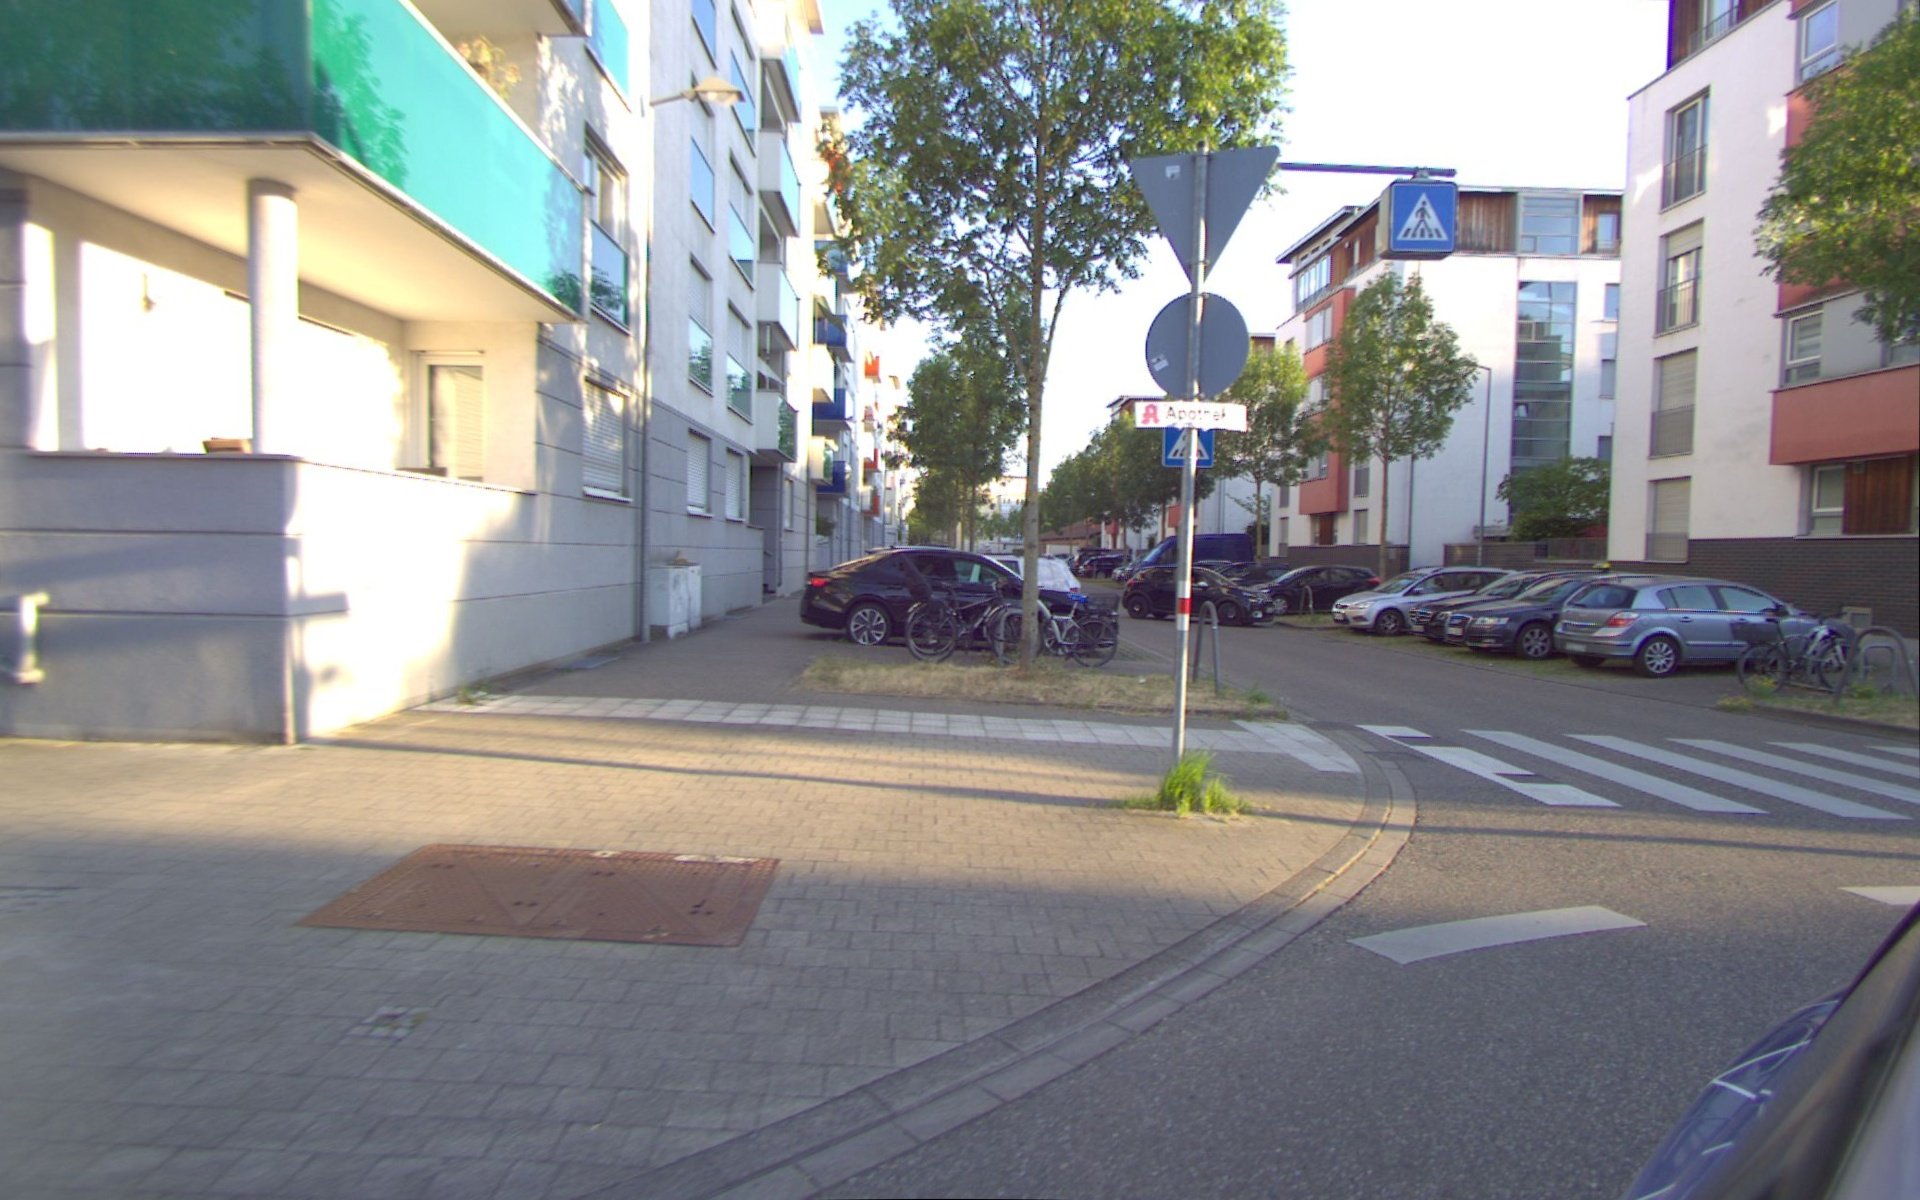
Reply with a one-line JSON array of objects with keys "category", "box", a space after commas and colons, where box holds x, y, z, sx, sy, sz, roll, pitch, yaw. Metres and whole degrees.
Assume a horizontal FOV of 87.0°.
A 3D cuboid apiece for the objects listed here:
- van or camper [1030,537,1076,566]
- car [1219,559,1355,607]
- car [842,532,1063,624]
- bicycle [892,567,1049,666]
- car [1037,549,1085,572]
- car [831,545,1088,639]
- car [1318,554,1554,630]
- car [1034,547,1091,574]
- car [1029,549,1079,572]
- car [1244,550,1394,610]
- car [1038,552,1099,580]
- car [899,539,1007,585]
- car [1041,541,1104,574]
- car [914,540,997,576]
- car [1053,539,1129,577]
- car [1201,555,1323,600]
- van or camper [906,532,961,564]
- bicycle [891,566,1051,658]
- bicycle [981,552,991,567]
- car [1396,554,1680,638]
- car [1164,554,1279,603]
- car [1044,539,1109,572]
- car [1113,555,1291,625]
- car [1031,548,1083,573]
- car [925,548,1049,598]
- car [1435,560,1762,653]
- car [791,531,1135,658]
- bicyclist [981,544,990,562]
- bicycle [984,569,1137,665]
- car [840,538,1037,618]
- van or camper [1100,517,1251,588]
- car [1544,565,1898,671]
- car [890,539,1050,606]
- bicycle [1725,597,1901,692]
[{"category": "van or camper", "box": [9.003, -4.691, 98.126, 4.174, 2.565, 1.761, 4, 2, 0]}, {"category": "car", "box": [10.704, -0.572, 33.241, 3.842, 1.534, 1.727, 0, 2, -5]}, {"category": "car", "box": [-0.180, -0.460, 20.562, 4.214, 1.512, 1.744, 4, 2, -2]}, {"category": "bicycle", "box": [0.112, 0.186, 12.066, 1.757, 1.054, 0.568, 4, 1, -5]}, {"category": "car", "box": [9.221, -3.587, 92.685, 4.174, 1.808, 1.693, 4, 2, 0]}, {"category": "car", "box": [0.001, -0.180, 17.953, 4.334, 1.526, 1.742, 1, 2, 2]}, {"category": "car", "box": [10.921, -0.227, 23.390, 4.667, 1.604, 1.761, -1, 2, -5]}, {"category": "car", "box": [8.176, -3.164, 80.824, 4.172, 1.808, 1.694, 4, 2, -2]}, {"category": "car", "box": [8.297, -3.510, 89.841, 4.174, 1.658, 1.693, 4, 2, 0]}, {"category": "car", "box": [10.739, -0.612, 30.454, 3.842, 1.731, 1.727, 0, 2, -5]}, {"category": "car", "box": [8.032, -2.542, 75.184, 4.172, 1.808, 1.694, 4, 2, -2]}, {"category": "car", "box": [-0.310, -1.497, 40.049, 4.022, 1.527, 1.669, 4, 2, -5]}, {"category": "car", "box": [8.123, -3.066, 73.098, 4.172, 2.027, 1.694, 4, 2, -2]}, {"category": "car", "box": [-0.249, -2.206, 52.692, 4.174, 1.555, 1.693, 4, 2, 0]}, {"category": "car", "box": [7.923, -2.545, 61.441, 4.172, 1.954, 1.694, 4, 2, -2]}, {"category": "car", "box": [11.315, -0.856, 38.074, 4.022, 1.645, 1.727, 0, 2, -5]}, {"category": "van or camper", "box": [-2.122, -4.120, 80.560, 4.172, 2.237, 1.694, 4, 2, -2]}, {"category": "bicycle", "box": [0.135, 0.148, 13.239, 1.995, 1.059, 0.474, 4, 1, -5]}, {"category": "bicycle", "box": [2.281, -3.560, 89.607, 0.757, 1.282, 1.783, 1, 2, -3]}, {"category": "car", "box": [11.558, -0.108, 20.498, 4.701, 1.574, 1.710, -1, 2, 3]}, {"category": "car", "box": [10.517, -0.889, 40.825, 4.022, 1.645, 1.727, 4, 2, -5]}, {"category": "car", "box": [8.159, -3.124, 71.125, 4.172, 1.954, 1.694, 4, 2, -2]}, {"category": "car", "box": [6.294, -0.284, 26.484, 4.151, 1.480, 1.757, 5, 3, 33]}, {"category": "car", "box": [8.414, -3.433, 88.031, 4.174, 1.808, 1.693, 4, 2, 0]}, {"category": "car", "box": [0.844, -0.915, 33.556, 3.842, 1.361, 1.727, 4, 2, -5]}, {"category": "car", "box": [11.297, 0.073, 18.100, 4.822, 1.496, 1.712, -1, 2, -3]}, {"category": "car", "box": [0.036, -0.123, 15.297, 4.799, 1.475, 1.938, 4, 2, 1]}, {"category": "bicyclist", "box": [2.285, -4.171, 89.717, 0.753, 1.647, 0.663, 1, 2, -3]}, {"category": "bicycle", "box": [1.262, 0.212, 12.803, 1.803, 1.085, 0.474, 4, 1, -5]}, {"category": "car", "box": [-0.434, -0.530, 23.148, 4.225, 1.476, 1.739, 4, 2, 8]}, {"category": "van or camper", "box": [9.731, -2.146, 46.028, 6.191, 3.124, 2.446, 0, 2, -5]}, {"category": "car", "box": [11.555, 0.226, 15.537, 4.210, 1.475, 1.682, -1, 2, -3]}, {"category": "car", "box": [0.217, -0.764, 27.977, 4.211, 1.526, 1.688, 4, 2, -4]}, {"category": "bicycle", "box": [10.738, 0.545, 12.760, 1.786, 1.079, 0.568, -2, 2, -3]}]
